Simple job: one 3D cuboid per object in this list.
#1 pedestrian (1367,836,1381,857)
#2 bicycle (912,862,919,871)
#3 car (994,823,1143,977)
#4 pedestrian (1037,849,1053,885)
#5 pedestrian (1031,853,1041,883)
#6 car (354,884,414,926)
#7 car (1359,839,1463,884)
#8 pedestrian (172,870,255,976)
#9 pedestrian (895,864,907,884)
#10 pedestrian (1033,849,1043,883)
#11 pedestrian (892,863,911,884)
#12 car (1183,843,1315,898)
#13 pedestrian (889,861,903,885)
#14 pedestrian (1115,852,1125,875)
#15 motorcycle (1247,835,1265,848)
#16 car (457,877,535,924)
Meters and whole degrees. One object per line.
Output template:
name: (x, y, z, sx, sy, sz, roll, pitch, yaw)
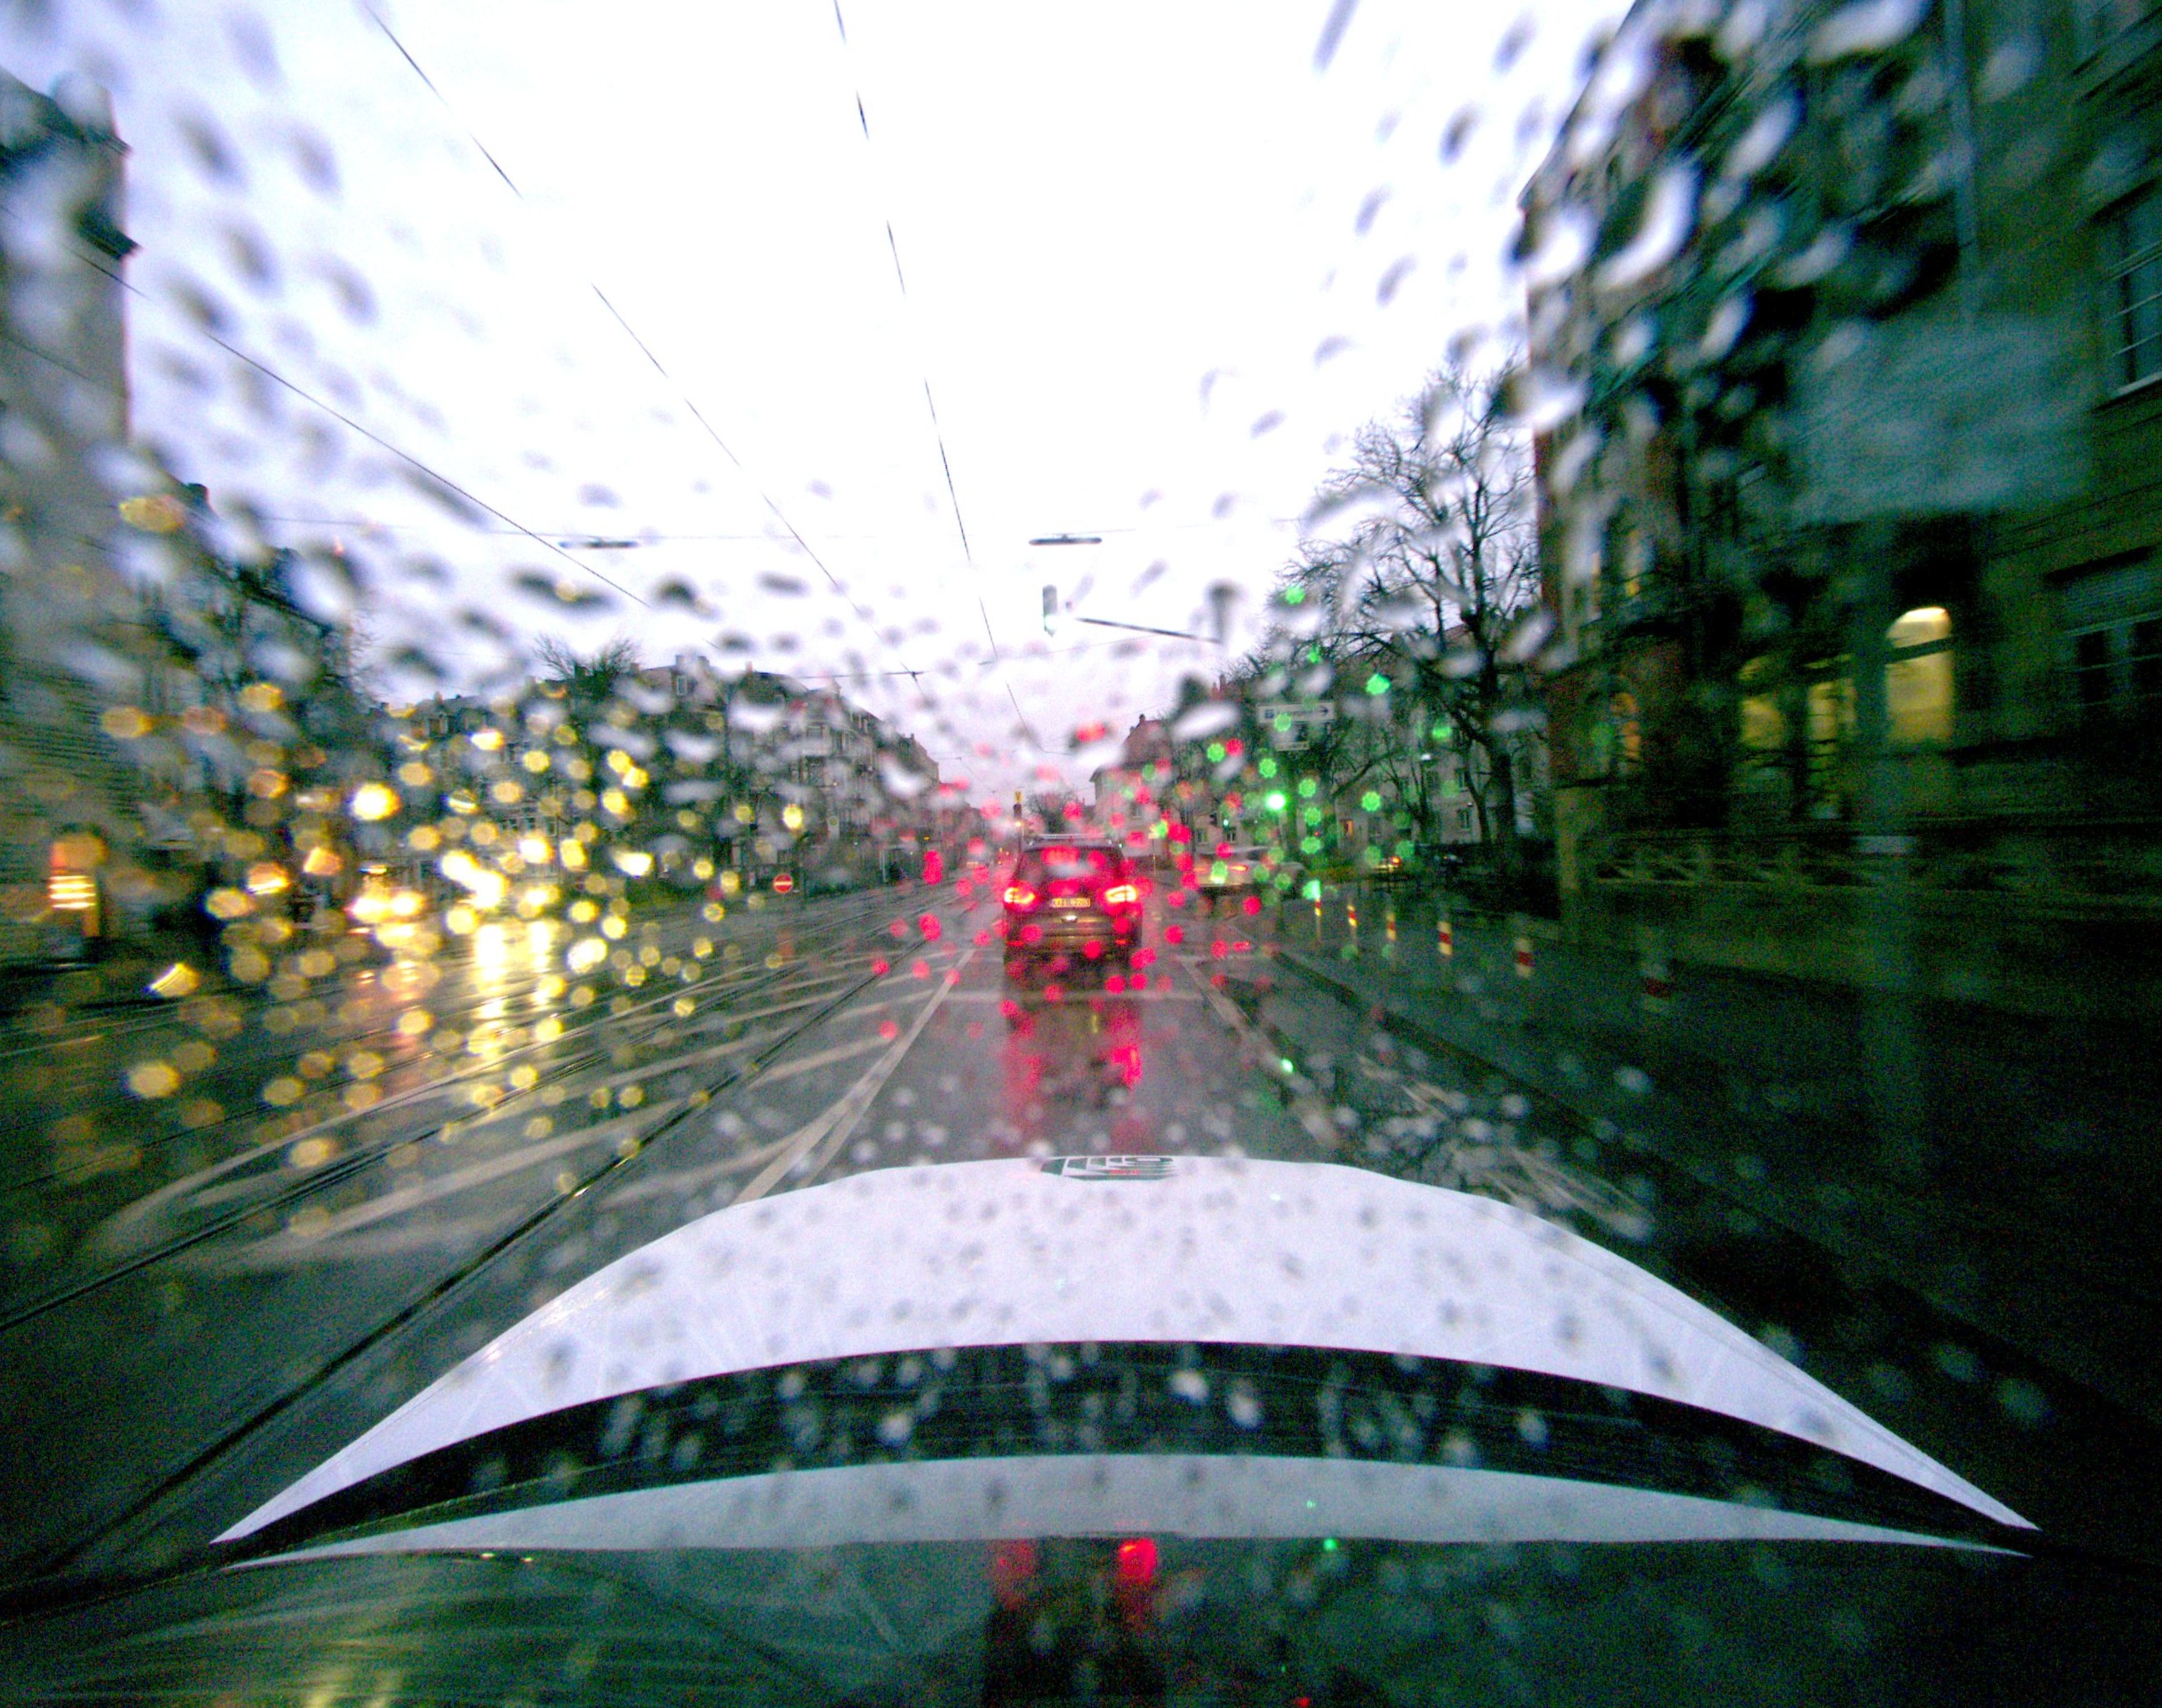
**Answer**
pedestrian: (23.920, -0.611, 66.488, 0.690, 1.660, 0.707, -3, 0, -32)
bicycle: (-19.065, 1.461, 93.863, 0.415, 1.007, 1.847, 1, 0, -2)
car: (-0.187, 0.574, 11.918, 1.797, 1.871, 4.015, 1, 0, -1)
pedestrian: (-2.025, 0.730, 45.914, 0.851, 1.956, 0.570, 1, -1, -3)
pedestrian: (-2.616, 0.824, 47.337, 0.556, 1.741, 0.570, 1, -1, -2)
car: (-28.438, 2.049, 33.303, 1.621, 1.472, 3.783, 1, -1, -37)
car: (13.543, 0.315, 33.340, 4.356, 1.728, 1.789, 1, -1, -33)
pedestrian: (-16.084, 1.240, 15.106, 0.788, 1.878, 0.900, 0, -1, 33)
pedestrian: (-11.087, 1.214, 50.228, 0.651, 1.218, 0.516, 1, -1, -4)
pedestrian: (-2.532, 0.707, 48.362, 0.556, 1.987, 0.570, 1, -1, -2)
pedestrian: (-10.931, 1.191, 49.702, 1.053, 1.254, 0.506, 1, -1, -4)
car: (5.274, 0.480, 25.112, 1.875, 1.510, 4.783, 0, -1, 41)
pedestrian: (-10.912, 1.096, 48.068, 0.682, 1.403, 0.577, 1, -1, -4)
pedestrian: (3.243, 0.767, 67.768, 0.711, 1.917, 0.690, 0, -1, 8)
motorcycle: (16.050, -1.167, 74.624, 0.573, 1.105, 1.584, -5, 2, -39)
car: (-22.065, 1.689, 30.647, 1.948, 1.583, 4.291, 0, -1, -42)
